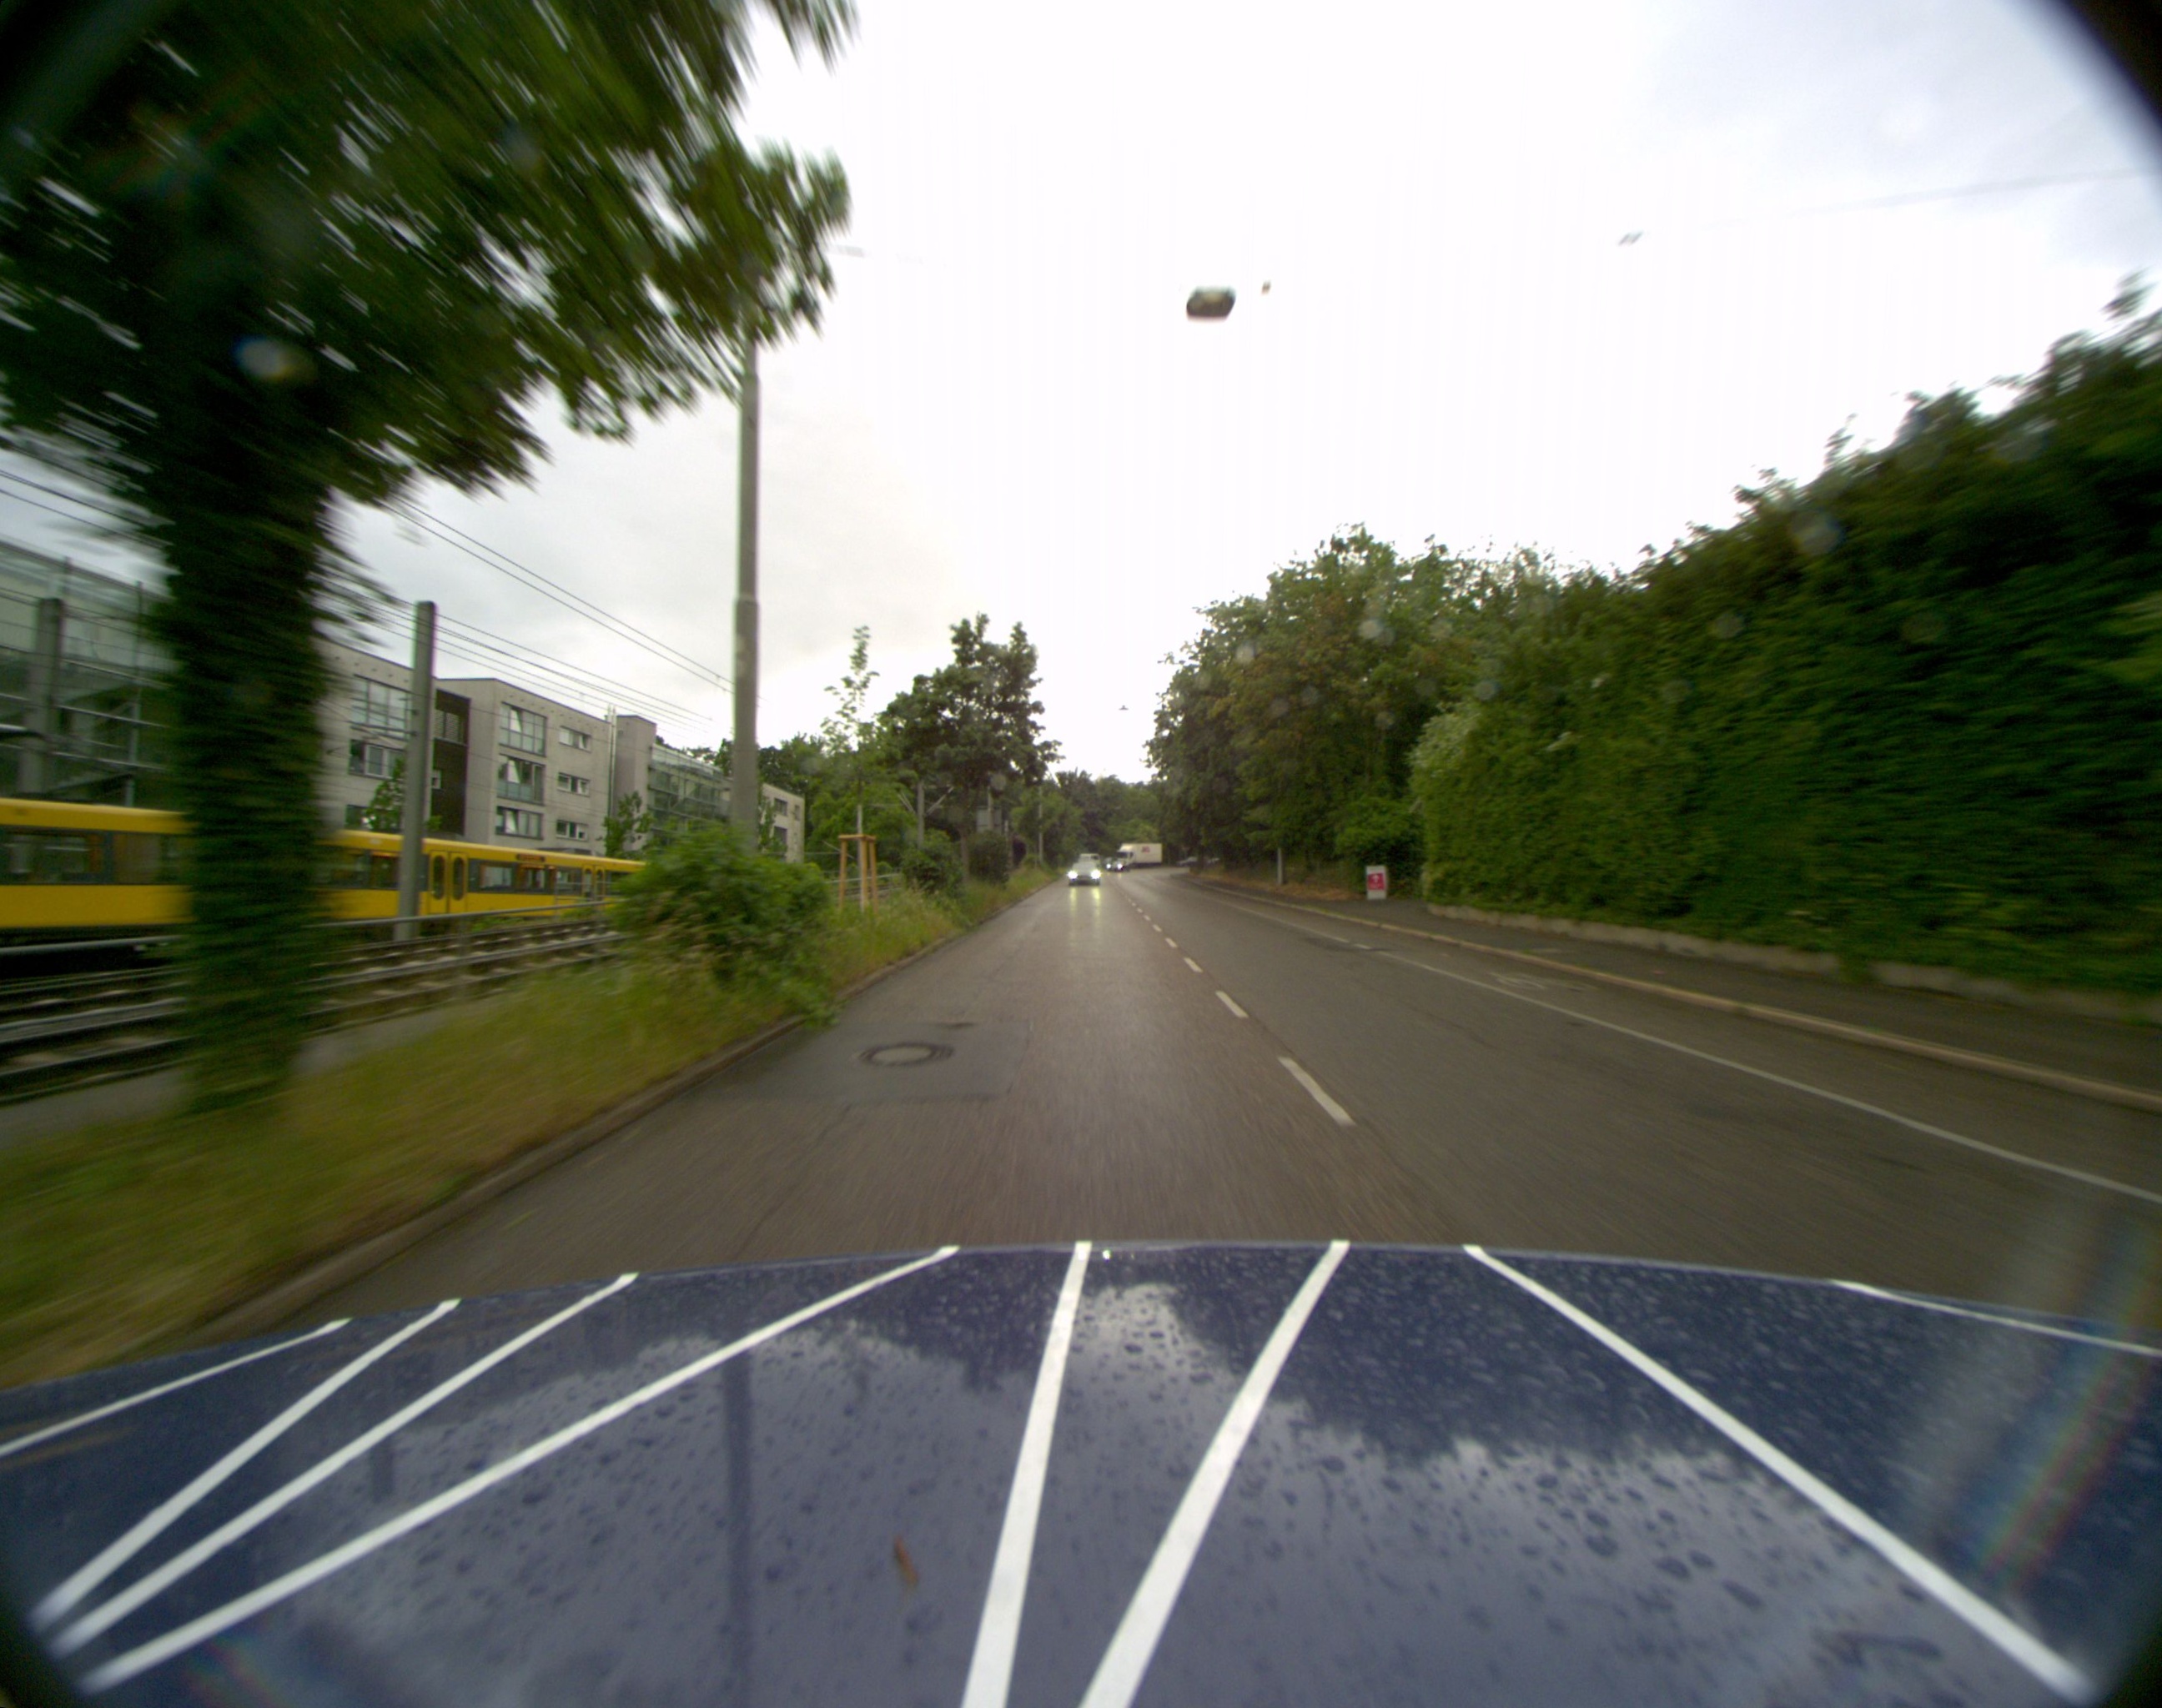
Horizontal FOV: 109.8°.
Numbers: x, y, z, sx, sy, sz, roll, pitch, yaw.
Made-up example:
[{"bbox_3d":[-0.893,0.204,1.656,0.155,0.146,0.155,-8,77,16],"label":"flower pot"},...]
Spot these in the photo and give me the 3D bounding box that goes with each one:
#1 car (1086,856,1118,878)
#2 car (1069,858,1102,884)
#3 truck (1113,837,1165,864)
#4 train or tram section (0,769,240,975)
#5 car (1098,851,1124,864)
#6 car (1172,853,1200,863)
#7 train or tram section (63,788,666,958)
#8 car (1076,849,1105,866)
[{"bbox_3d":[1.674,0.959,58.361,1.997,1.660,4.533,0,0,7],"label":"car"},{"bbox_3d":[0.324,1.040,48.169,1.898,1.530,4.501,0,0,2],"label":"car"},{"bbox_3d":[8.214,-0.501,106.506,3.008,3.553,8.353,-1,1,39],"label":"truck"},{"bbox_3d":[-22.383,0.199,9.186,3.339,3.923,18.819,-1,-2,1],"label":"train or tram section"},{"bbox_3d":[3.971,0.462,100.045,1.719,1.547,4.284,1,1,28],"label":"car"},{"bbox_3d":[15.886,0.594,115.026,4.132,1.435,1.721,-1,0,-38],"label":"car"},{"bbox_3d":[-22.111,0.521,27.504,3.339,3.924,19.283,-1,0,1],"label":"train or tram section"},{"bbox_3d":[1.199,0.444,94.327,1.878,2.002,4.699,2,1,23],"label":"car"}]
